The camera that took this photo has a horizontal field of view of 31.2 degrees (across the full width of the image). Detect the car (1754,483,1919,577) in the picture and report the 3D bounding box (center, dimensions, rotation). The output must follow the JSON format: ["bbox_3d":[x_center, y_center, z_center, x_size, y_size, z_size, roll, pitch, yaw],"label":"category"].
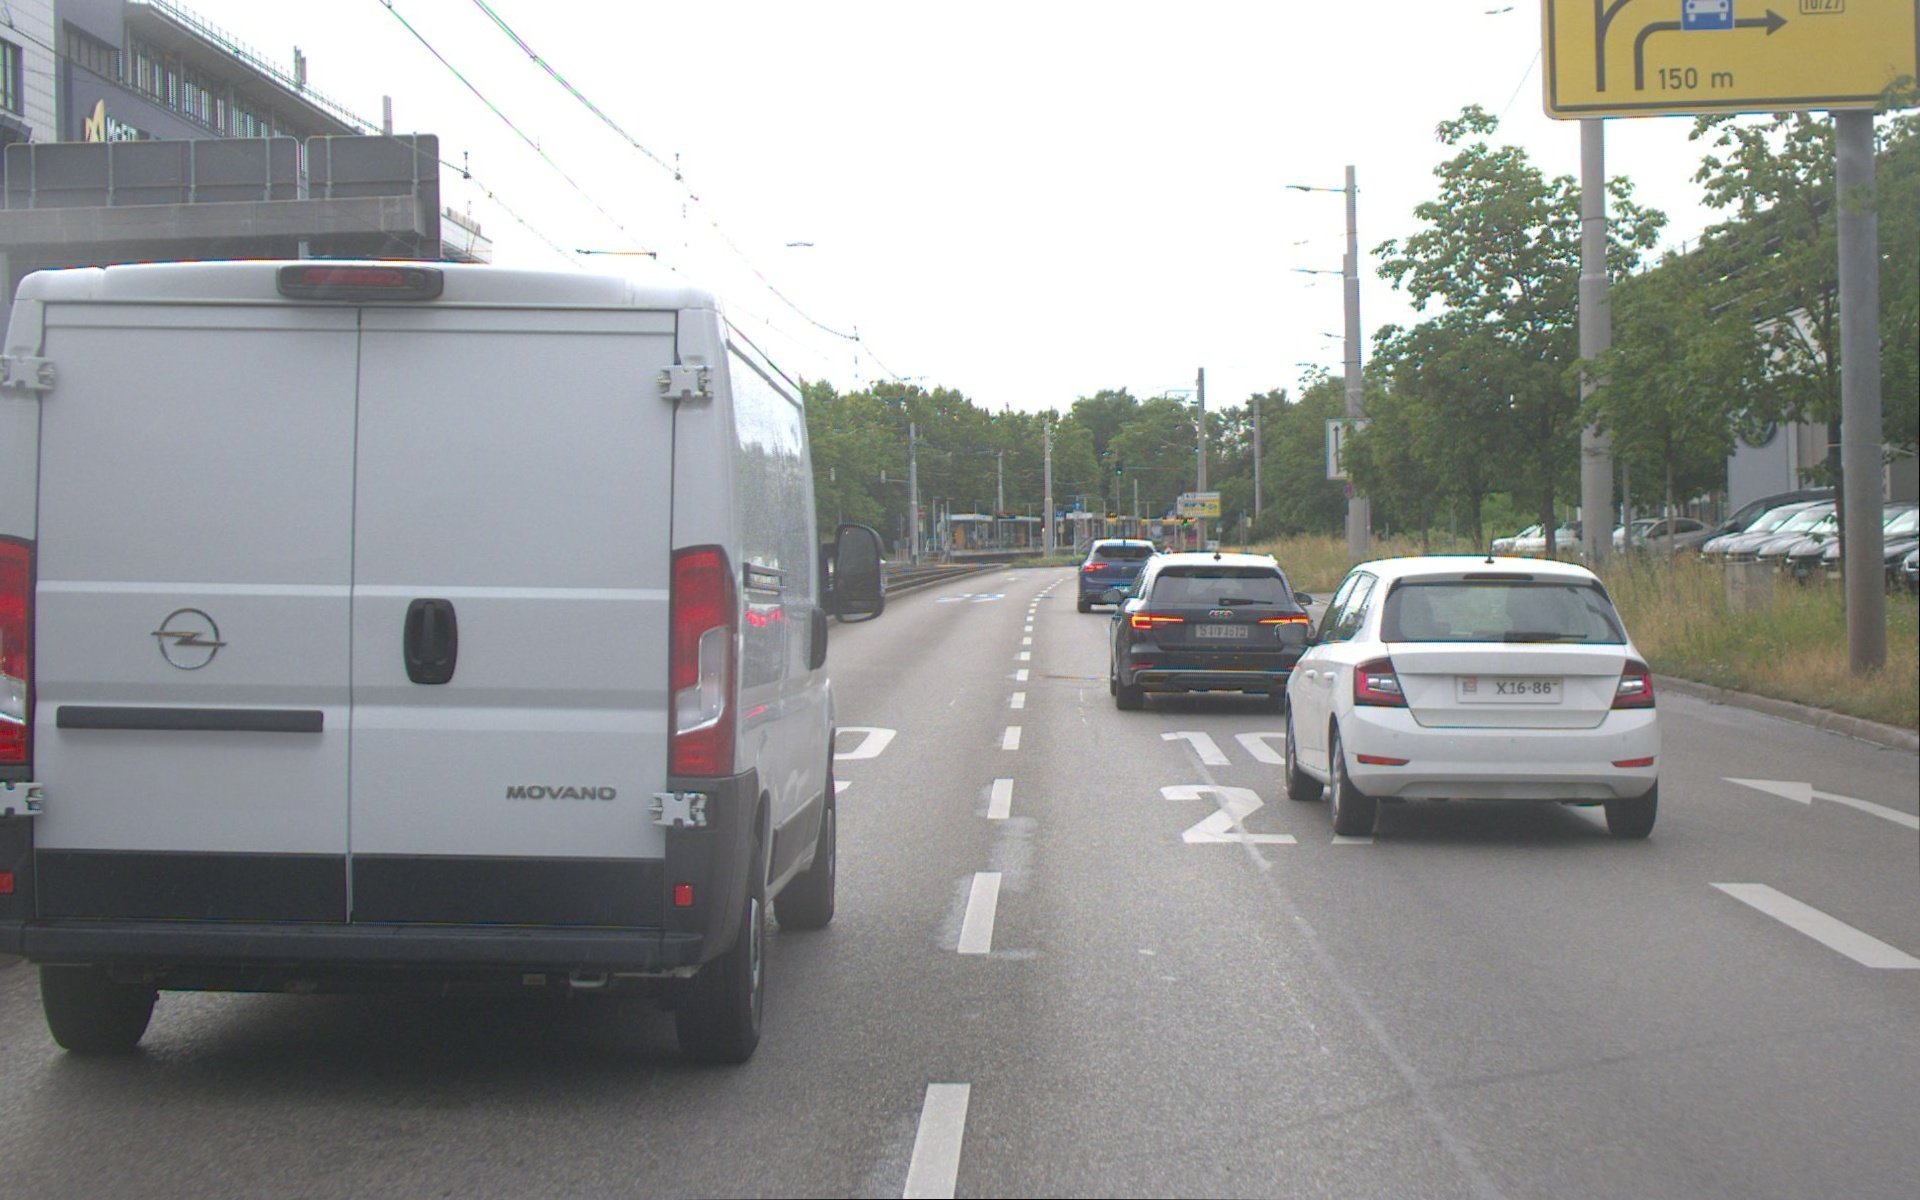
[{"bbox_3d":[16.646,-1.299,62.088,4.138,1.564,1.827,-3,1,-23],"label":"car"}]

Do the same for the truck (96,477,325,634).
[{"bbox_3d":[-13.229,-0.808,61.186,2.239,2.556,7.014,-2,1,2],"label":"truck"}]

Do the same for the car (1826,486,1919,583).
[{"bbox_3d":[16.564,-1.137,56.465,4.138,1.523,1.832,-3,1,-18],"label":"car"}]

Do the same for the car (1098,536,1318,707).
[{"bbox_3d":[2.231,0.149,31.847,1.789,1.444,4.000,1,1,1],"label":"car"}]

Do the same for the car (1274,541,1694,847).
[{"bbox_3d":[2.776,0.438,18.946,1.746,1.452,3.671,2,1,1],"label":"car"}]

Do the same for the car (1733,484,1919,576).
[{"bbox_3d":[16.912,-1.343,64.968,4.138,1.599,1.827,-3,1,-23],"label":"car"}]

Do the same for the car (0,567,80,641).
[{"bbox_3d":[-21.992,0.120,79.594,2.940,1.531,1.604,-4,4,-18],"label":"car"}]

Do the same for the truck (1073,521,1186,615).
[{"bbox_3d":[3.346,-0.666,68.704,1.993,1.784,4.414,-1,1,0],"label":"truck"}]

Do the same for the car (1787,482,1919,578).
[{"bbox_3d":[16.582,-1.249,59.202,4.138,1.564,1.910,-3,1,-21],"label":"car"}]

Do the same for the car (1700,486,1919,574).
[{"bbox_3d":[16.892,-1.380,67.802,4.138,1.556,1.870,-3,1,-24],"label":"car"}]

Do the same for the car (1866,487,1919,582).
[{"bbox_3d":[16.486,-1.104,53.741,4.138,1.453,1.794,-3,1,-18],"label":"car"}]

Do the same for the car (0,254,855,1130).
[{"bbox_3d":[-1.555,0.167,11.275,2.090,2.189,5.061,1,1,2],"label":"car"}]

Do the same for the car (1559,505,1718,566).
[{"bbox_3d":[18.588,-1.766,94.151,4.086,1.460,1.748,-3,0,-31],"label":"car"}]

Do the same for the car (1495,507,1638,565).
[{"bbox_3d":[18.260,-1.942,103.527,4.087,1.563,1.799,-3,0,-34],"label":"car"}]
